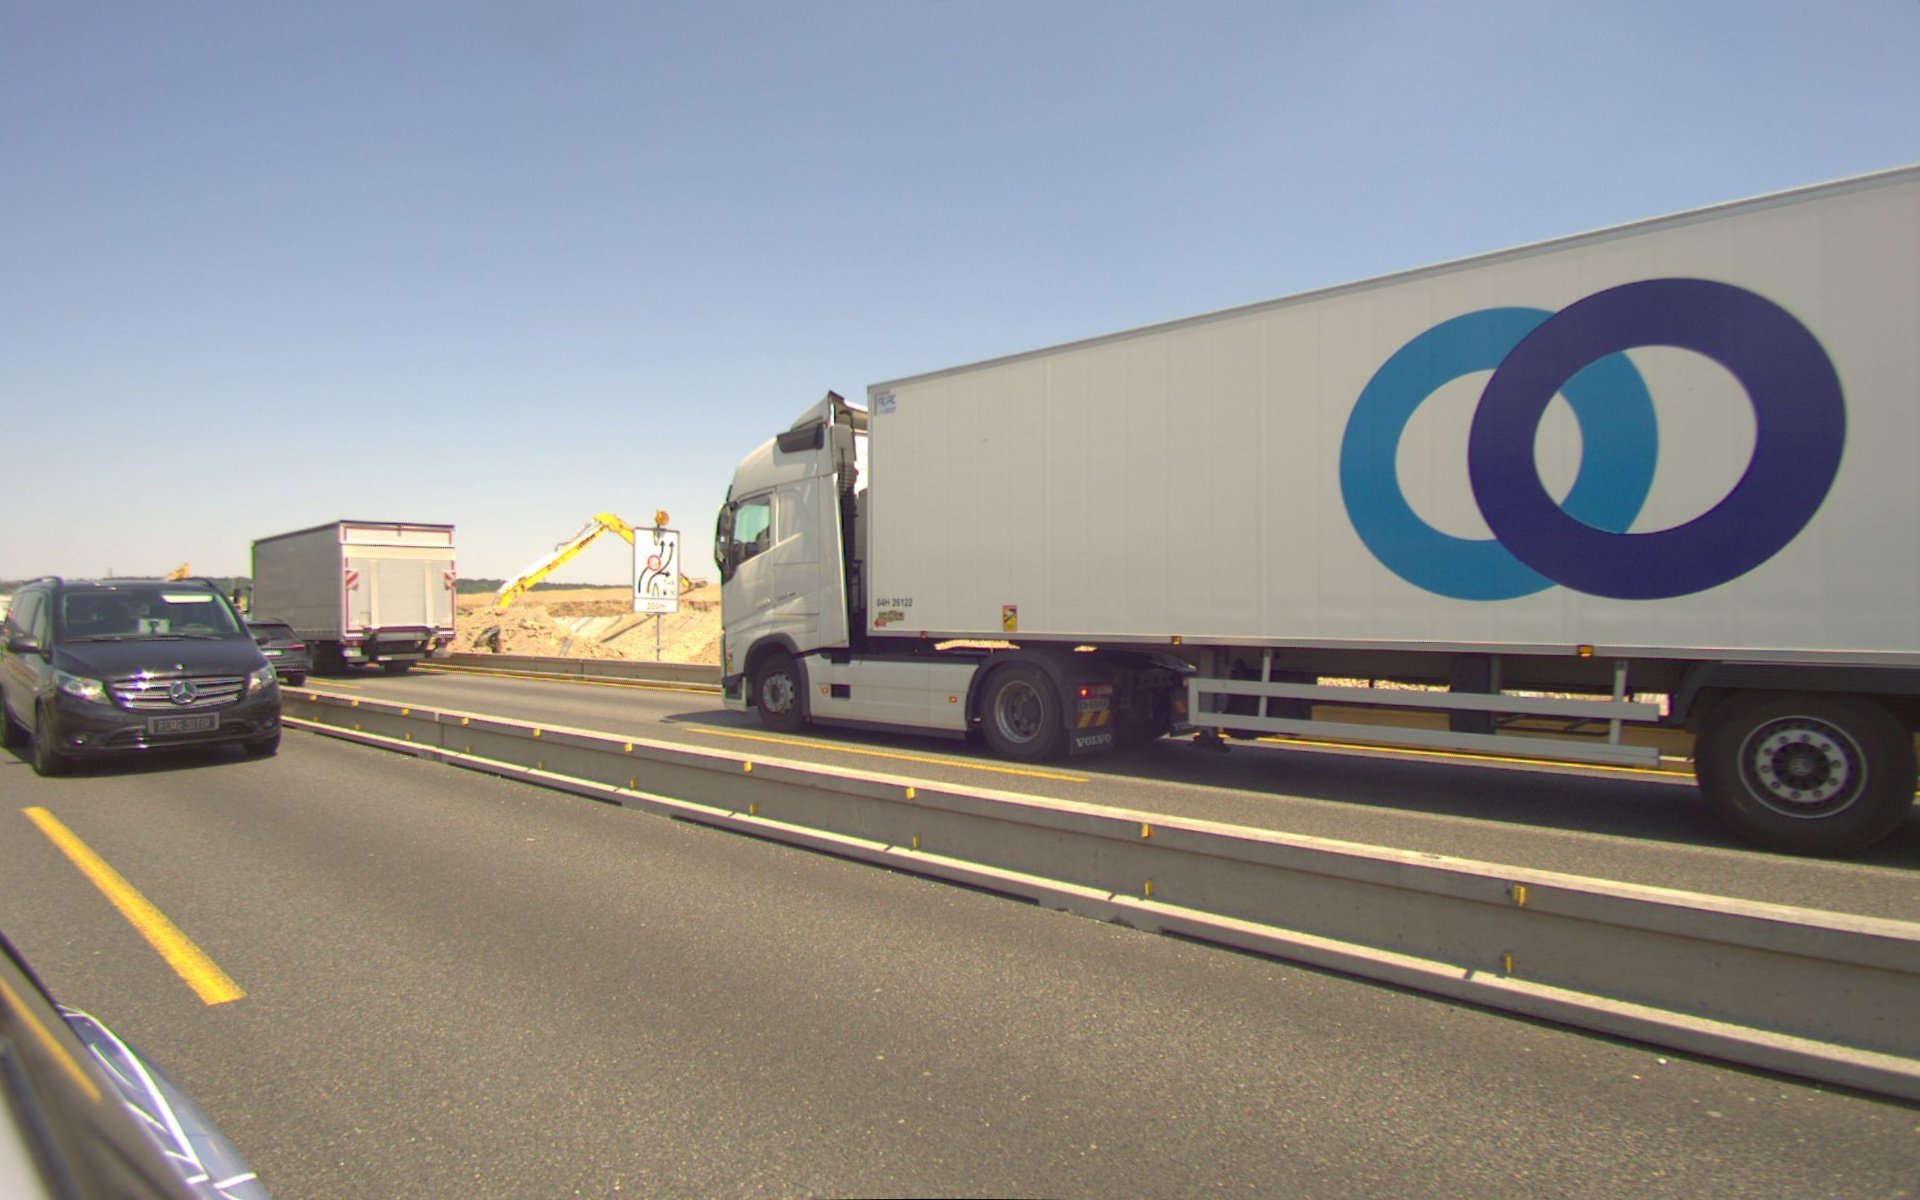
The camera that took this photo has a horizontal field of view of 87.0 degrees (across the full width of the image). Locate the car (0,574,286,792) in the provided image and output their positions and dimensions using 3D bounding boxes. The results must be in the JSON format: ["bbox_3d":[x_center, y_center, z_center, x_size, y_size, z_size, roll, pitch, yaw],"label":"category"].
[{"bbox_3d":[-9.379,0.763,11.217,5.477,1.865,1.854,-2,-1,42],"label":"car"}]

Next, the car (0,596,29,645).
[{"bbox_3d":[-76.430,1.674,80.408,8.087,3.769,2.878,-2,-1,42],"label":"car"}]

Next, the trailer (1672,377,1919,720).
[{"bbox_3d":[14.362,-0.657,15.437,8.228,4.129,2.808,-1,0,-33],"label":"trailer"}]

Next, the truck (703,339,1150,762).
[{"bbox_3d":[-0.521,-0.434,12.355,4.857,4.049,2.818,-1,-2,42],"label":"truck"}]

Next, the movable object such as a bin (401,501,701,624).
[{"bbox_3d":[-25.057,-2.160,64.125,3.387,6.823,18.030,-1,0,41],"label":"movable object such as a bin"}]

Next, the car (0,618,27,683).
[{"bbox_3d":[-24.662,1.268,25.135,4.098,1.519,1.781,-2,-1,41],"label":"car"}]

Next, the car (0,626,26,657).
[{"bbox_3d":[-49.160,2.124,51.818,4.052,1.495,1.610,-1,0,42],"label":"car"}]

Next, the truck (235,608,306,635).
[{"bbox_3d":[-56.019,1.701,82.128,8.797,2.074,2.536,-1,0,40],"label":"truck"}]

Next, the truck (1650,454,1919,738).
[{"bbox_3d":[11.311,-0.057,11.990,2.548,2.986,5.066,-1,0,-3],"label":"truck"}]

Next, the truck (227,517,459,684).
[{"bbox_3d":[-16.602,0.045,26.819,9.479,3.744,2.617,-1,0,42],"label":"truck"}]

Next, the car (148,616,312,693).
[{"bbox_3d":[-15.770,1.100,21.782,4.498,1.453,1.839,-1,0,40],"label":"car"}]

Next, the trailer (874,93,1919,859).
[{"bbox_3d":[5.101,-0.636,7.379,13.648,4.125,2.824,-1,-2,42],"label":"trailer"}]

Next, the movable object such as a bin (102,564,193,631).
[{"bbox_3d":[-89.948,-0.281,112.145,4.080,7.167,7.283,-1,0,41],"label":"movable object such as a bin"}]

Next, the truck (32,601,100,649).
[{"bbox_3d":[-51.777,1.472,58.582,6.350,2.589,2.076,-3,-1,41],"label":"truck"}]
